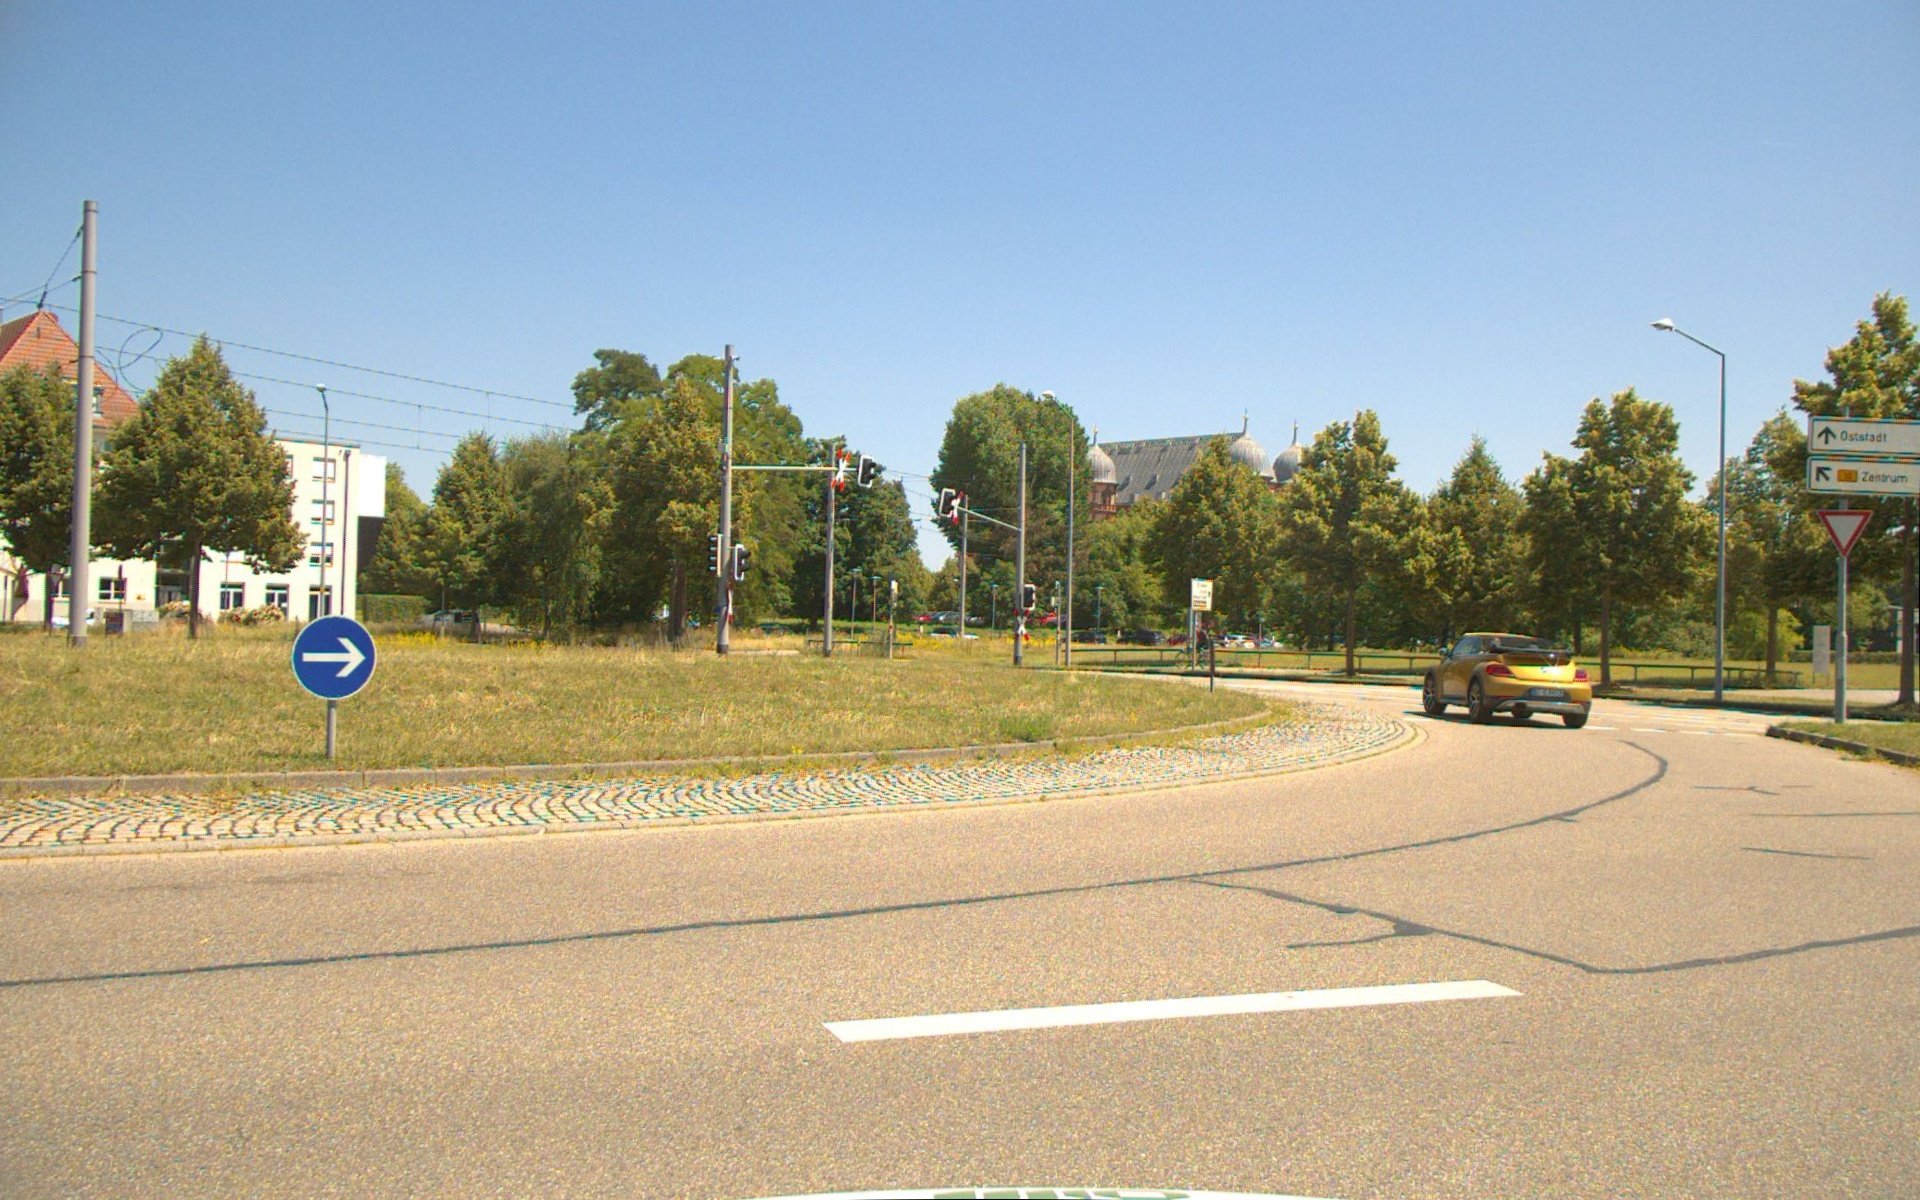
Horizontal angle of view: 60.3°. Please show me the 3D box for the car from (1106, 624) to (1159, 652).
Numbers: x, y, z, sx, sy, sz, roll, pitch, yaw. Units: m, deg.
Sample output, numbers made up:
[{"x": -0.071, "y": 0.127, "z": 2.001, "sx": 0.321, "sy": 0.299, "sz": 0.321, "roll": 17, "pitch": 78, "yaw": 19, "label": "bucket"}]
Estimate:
[{"x": 13.684, "y": 3.009, "z": 131.147, "sx": 3.902, "sy": 2.049, "sz": 2.001, "roll": 2, "pitch": -2, "yaw": 13, "label": "car"}]

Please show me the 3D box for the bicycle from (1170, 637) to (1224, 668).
[{"x": 9.578, "y": 2.116, "z": 66.736, "sx": 2.010, "sy": 1.135, "sz": 0.729, "roll": 2, "pitch": -2, "yaw": 23, "label": "bicycle"}]

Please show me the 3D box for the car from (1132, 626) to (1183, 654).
[{"x": 16.280, "y": 3.295, "z": 136.246, "sx": 3.902, "sy": 2.049, "sz": 2.001, "roll": 2, "pitch": -2, "yaw": 13, "label": "car"}]

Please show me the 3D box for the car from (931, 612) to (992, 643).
[{"x": 0.110, "y": 1.947, "z": 117.457, "sx": 3.902, "sy": 2.049, "sz": 2.001, "roll": 2, "pitch": -2, "yaw": 13, "label": "car"}]

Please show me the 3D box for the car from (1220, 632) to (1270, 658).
[{"x": 24.430, "y": 3.838, "z": 141.812, "sx": 3.905, "sy": 2.049, "sz": 2.000, "roll": 2, "pitch": -2, "yaw": 20, "label": "car"}]

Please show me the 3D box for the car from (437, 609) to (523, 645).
[{"x": -25.814, "y": 1.469, "z": 89.020, "sx": 3.960, "sy": 1.713, "sz": 1.972, "roll": 4, "pitch": -3, "yaw": -39, "label": "car"}]

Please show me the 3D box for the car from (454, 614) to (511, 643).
[{"x": -36.214, "y": 2.180, "z": 125.591, "sx": 3.916, "sy": 2.049, "sz": 1.994, "roll": 3, "pitch": -2, "yaw": -12, "label": "car"}]

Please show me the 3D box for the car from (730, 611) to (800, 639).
[{"x": -12.223, "y": 1.575, "z": 104.037, "sx": 3.902, "sy": 1.602, "sz": 2.001, "roll": 2, "pitch": -2, "yaw": 10, "label": "car"}]

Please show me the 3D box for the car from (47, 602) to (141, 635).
[{"x": -43.507, "y": 0.945, "z": 83.113, "sx": 3.861, "sy": 1.445, "sz": 1.692, "roll": 4, "pitch": -3, "yaw": -39, "label": "car"}]

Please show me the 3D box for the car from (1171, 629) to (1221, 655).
[{"x": 19.772, "y": 3.517, "z": 138.354, "sx": 3.902, "sy": 2.049, "sz": 2.001, "roll": 2, "pitch": -2, "yaw": 13, "label": "car"}]

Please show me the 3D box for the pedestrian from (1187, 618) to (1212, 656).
[{"x": 9.660, "y": 1.492, "z": 66.721, "sx": 0.799, "sy": 1.476, "sz": 0.709, "roll": 1, "pitch": -2, "yaw": 22, "label": "pedestrian"}]

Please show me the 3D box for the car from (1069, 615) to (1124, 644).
[{"x": 10.532, "y": 2.297, "z": 127.138, "sx": 3.902, "sy": 2.049, "sz": 2.001, "roll": 2, "pitch": -2, "yaw": 13, "label": "car"}]

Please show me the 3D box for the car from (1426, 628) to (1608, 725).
[{"x": 9.101, "y": 1.214, "z": 27.330, "sx": 1.788, "sy": 1.427, "sz": 3.661, "roll": 2, "pitch": -1, "yaw": 1, "label": "car"}]
